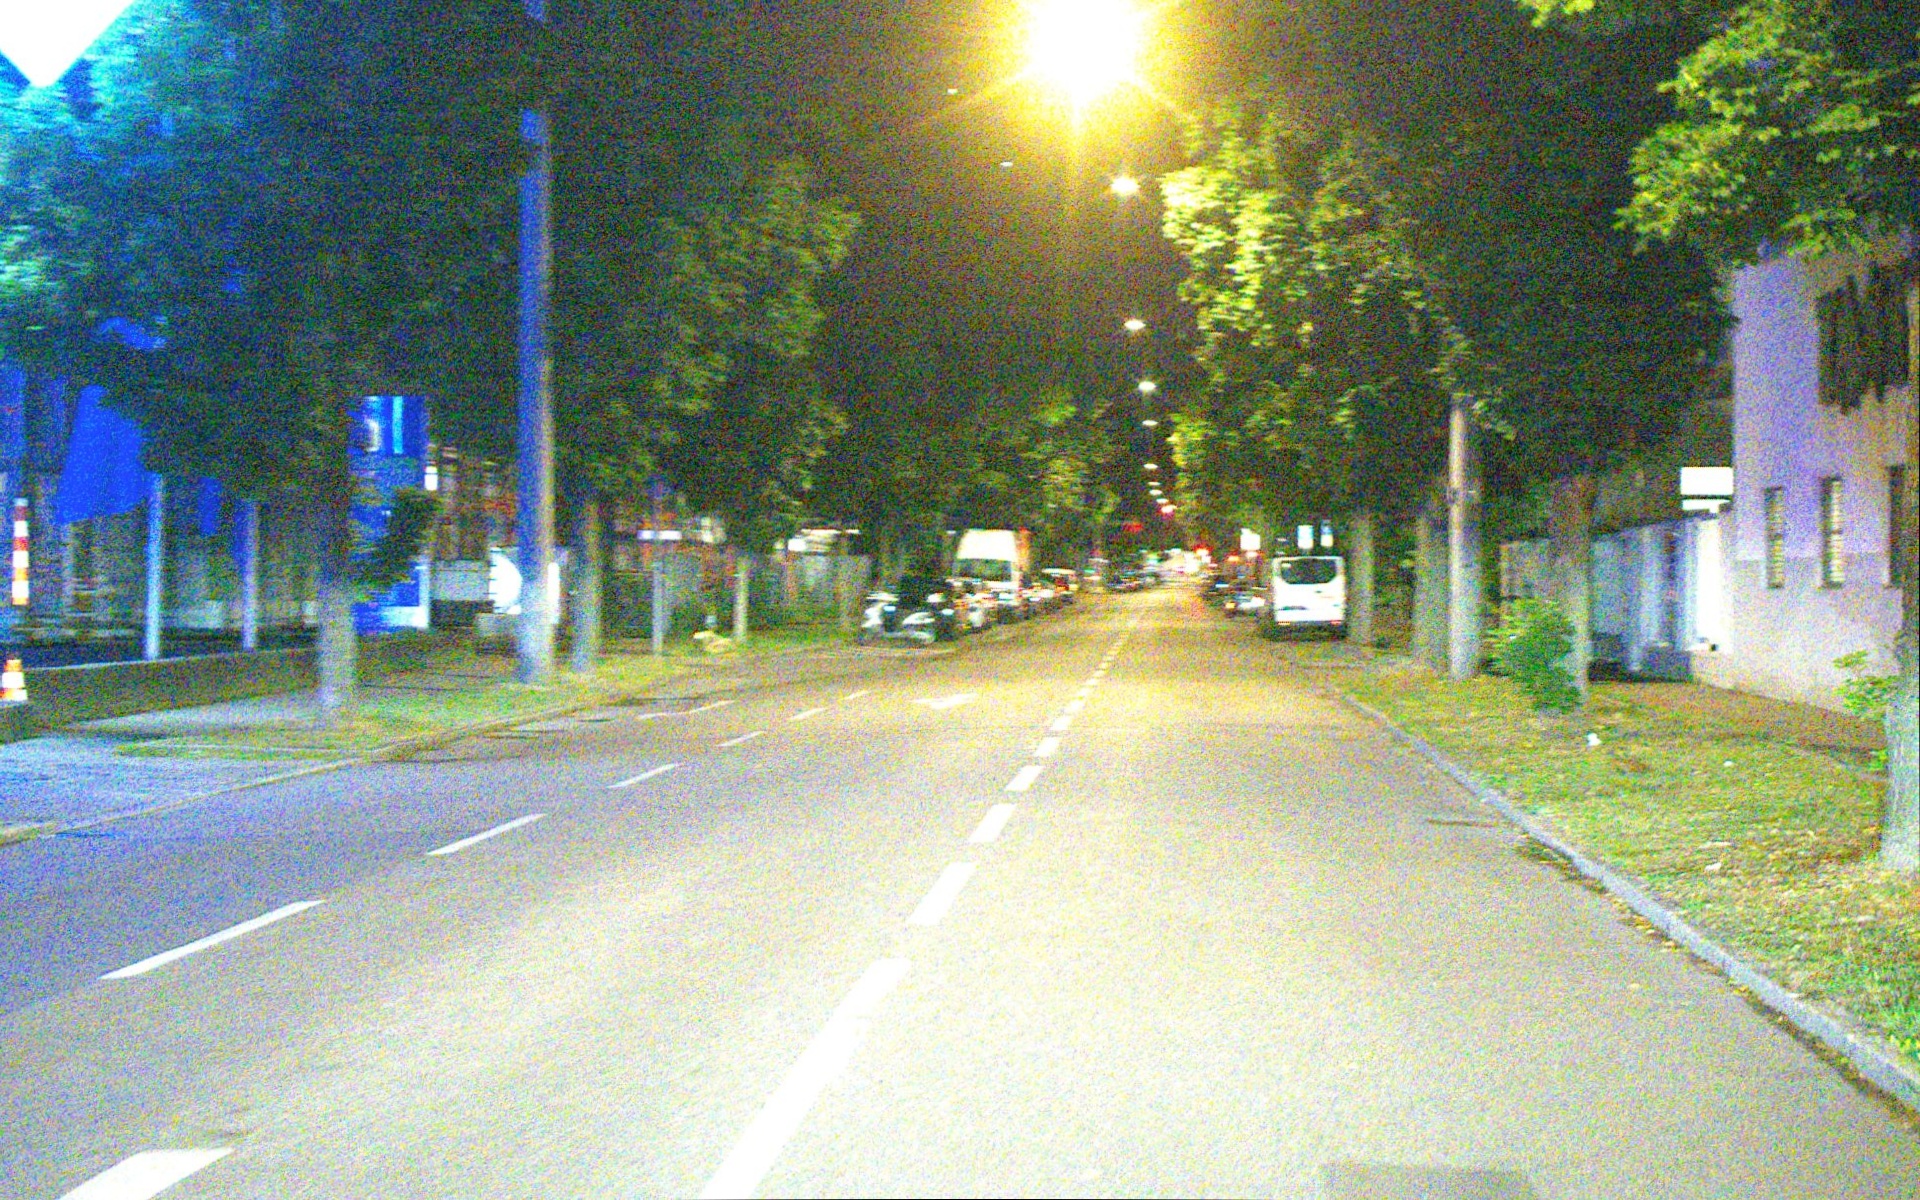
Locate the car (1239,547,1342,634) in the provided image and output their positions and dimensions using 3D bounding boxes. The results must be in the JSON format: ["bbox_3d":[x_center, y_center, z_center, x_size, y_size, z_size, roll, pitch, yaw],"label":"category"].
[{"bbox_3d":[7.847,-0.222,81.938,1.993,2.007,4.000,-1,0,-1],"label":"car"}]

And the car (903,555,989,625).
[{"bbox_3d":[-0.348,-0.263,92.312,1.994,1.836,3.999,-1,0,4],"label":"car"}]

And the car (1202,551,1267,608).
[{"bbox_3d":[9.912,-0.731,124.330,1.993,2.007,4.000,-1,0,-1],"label":"car"}]

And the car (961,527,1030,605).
[{"bbox_3d":[1.145,-1.046,108.718,1.994,2.407,4.484,-1,0,3],"label":"car"}]

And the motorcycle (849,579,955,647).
[{"bbox_3d":[-1.201,0.274,71.415,2.014,1.388,0.877,-1,0,-25],"label":"motorcycle"}]
